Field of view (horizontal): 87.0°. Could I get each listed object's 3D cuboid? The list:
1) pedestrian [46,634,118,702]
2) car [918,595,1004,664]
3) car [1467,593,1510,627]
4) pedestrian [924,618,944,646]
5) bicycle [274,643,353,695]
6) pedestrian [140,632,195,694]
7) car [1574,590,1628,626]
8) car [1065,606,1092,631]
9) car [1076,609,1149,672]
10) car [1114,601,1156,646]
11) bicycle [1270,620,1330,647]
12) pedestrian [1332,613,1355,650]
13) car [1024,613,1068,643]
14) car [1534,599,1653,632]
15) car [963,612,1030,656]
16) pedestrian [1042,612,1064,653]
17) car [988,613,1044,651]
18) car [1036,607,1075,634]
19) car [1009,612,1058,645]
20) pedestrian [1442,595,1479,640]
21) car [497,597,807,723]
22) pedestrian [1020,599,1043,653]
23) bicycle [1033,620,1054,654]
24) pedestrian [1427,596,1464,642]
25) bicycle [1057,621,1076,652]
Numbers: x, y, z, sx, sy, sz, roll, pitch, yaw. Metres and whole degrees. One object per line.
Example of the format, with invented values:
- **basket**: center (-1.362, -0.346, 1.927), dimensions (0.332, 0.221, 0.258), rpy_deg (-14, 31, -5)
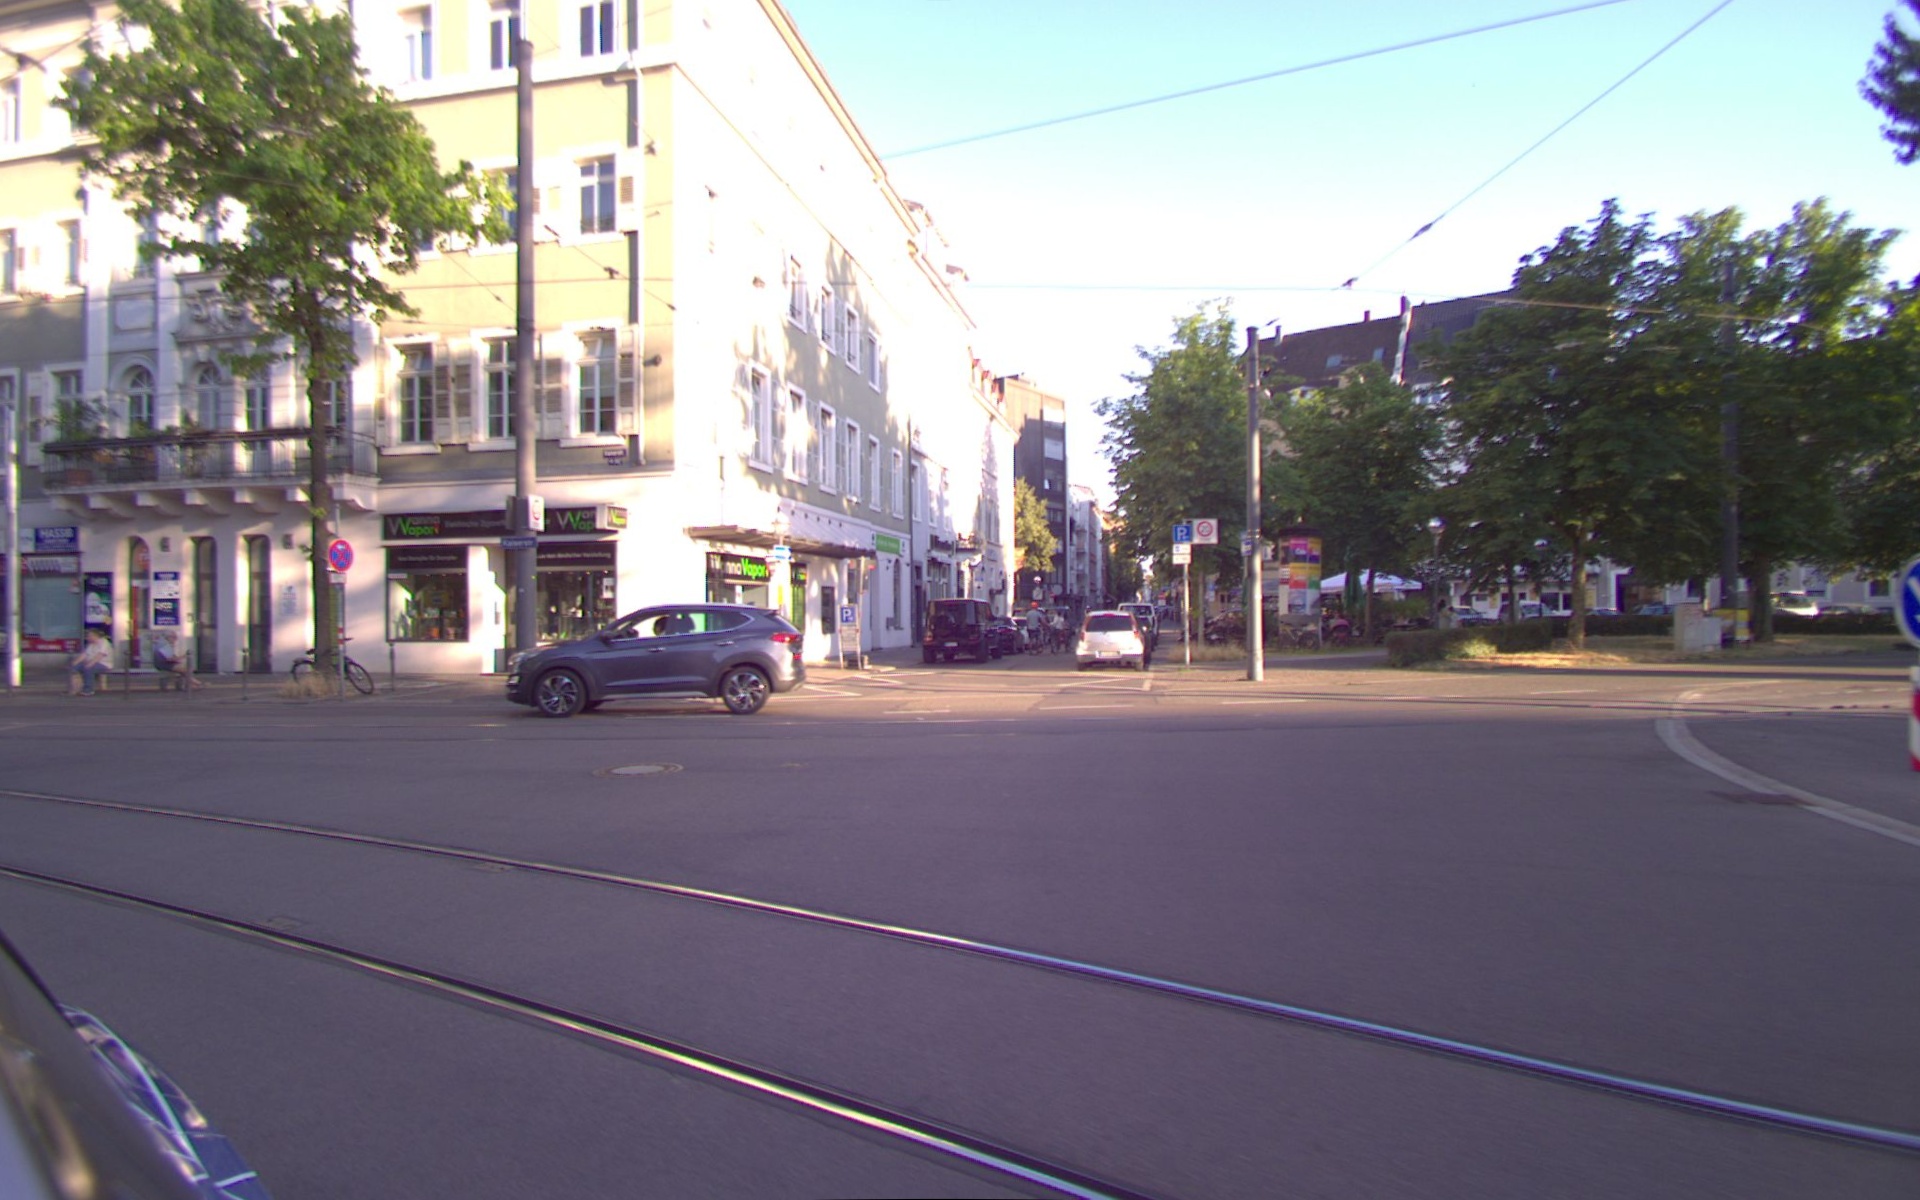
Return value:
- **pedestrian**: center (-17.495, 1.346, 20.177), dimensions (0.847, 1.300, 0.728), rpy_deg (-1, 0, 10)
- **car**: center (0.104, 0.916, 32.424), dimensions (1.906, 2.029, 4.618), rpy_deg (-1, -1, 11)
- **car**: center (29.401, 0.560, 56.376), dimensions (1.990, 1.796, 3.963), rpy_deg (-1, -1, 27)
- **pedestrian**: center (-1.106, 1.378, 43.759), dimensions (0.701, 1.213, 0.768), rpy_deg (-1, -2, 12)
- **bicycle**: center (-12.319, 1.317, 19.270), dimensions (1.495, 0.953, 0.336), rpy_deg (-1, -2, 14)
- **pedestrian**: center (-15.826, 1.255, 20.216), dimensions (0.635, 1.203, 0.591), rpy_deg (-1, 0, 10)
- **car**: center (33.929, 0.406, 53.670), dimensions (1.990, 1.796, 3.963), rpy_deg (-1, -1, 27)
- **car**: center (8.525, 1.286, 72.638), dimensions (1.712, 1.705, 3.837), rpy_deg (-1, -1, 10)
- **car**: center (4.105, 1.020, 26.755), dimensions (1.710, 1.527, 3.985), rpy_deg (-1, -1, 11)
- **car**: center (8.457, 1.088, 48.671), dimensions (1.879, 2.045, 3.981), rpy_deg (-1, -1, 11)
- **bicycle**: center (11.018, 1.077, 32.855), dimensions (1.807, 0.844, 0.453), rpy_deg (-2, -1, 42)
- **pedestrian**: center (13.100, 1.059, 34.596), dimensions (0.623, 1.243, 0.516), rpy_deg (-1, -1, 11)
- **car**: center (4.689, 1.464, 54.709), dimensions (1.879, 1.527, 4.126), rpy_deg (-1, -1, 11)
- **car**: center (23.326, 0.589, 37.364), dimensions (3.220, 1.126, 1.720), rpy_deg (-1, -1, 4)
- **car**: center (1.457, 1.263, 38.761), dimensions (1.879, 1.527, 4.126), rpy_deg (-1, -1, 11)
- **pedestrian**: center (3.637, 1.282, 39.663), dimensions (0.737, 1.592, 0.769), rpy_deg (-1, -2, 12)
- **car**: center (2.495, 1.365, 44.195), dimensions (1.879, 1.527, 4.126), rpy_deg (-1, -1, 11)
- **car**: center (5.662, 1.174, 59.638), dimensions (1.879, 1.527, 4.126), rpy_deg (-1, -1, 11)
- **car**: center (3.623, 1.357, 49.349), dimensions (1.879, 1.527, 4.126), rpy_deg (-1, -1, 11)
- **pedestrian**: center (16.100, 0.564, 32.573), dimensions (0.759, 1.421, 0.747), rpy_deg (0, -2, -35)
- **car**: center (-4.536, 0.867, 15.517), dimensions (4.290, 1.689, 1.973), rpy_deg (-1, -1, -8)
- **pedestrian**: center (2.658, 0.962, 37.513), dimensions (0.737, 1.950, 0.769), rpy_deg (-1, -2, 12)
- **bicycle**: center (3.093, 1.353, 37.353), dimensions (0.559, 1.160, 2.017), rpy_deg (-1, -1, 10)
- **pedestrian**: center (15.234, 0.609, 31.751), dimensions (0.759, 1.421, 0.747), rpy_deg (0, -2, -35)
- **bicycle**: center (4.168, 1.413, 39.353), dimensions (0.559, 1.160, 2.017), rpy_deg (-1, -1, 10)
